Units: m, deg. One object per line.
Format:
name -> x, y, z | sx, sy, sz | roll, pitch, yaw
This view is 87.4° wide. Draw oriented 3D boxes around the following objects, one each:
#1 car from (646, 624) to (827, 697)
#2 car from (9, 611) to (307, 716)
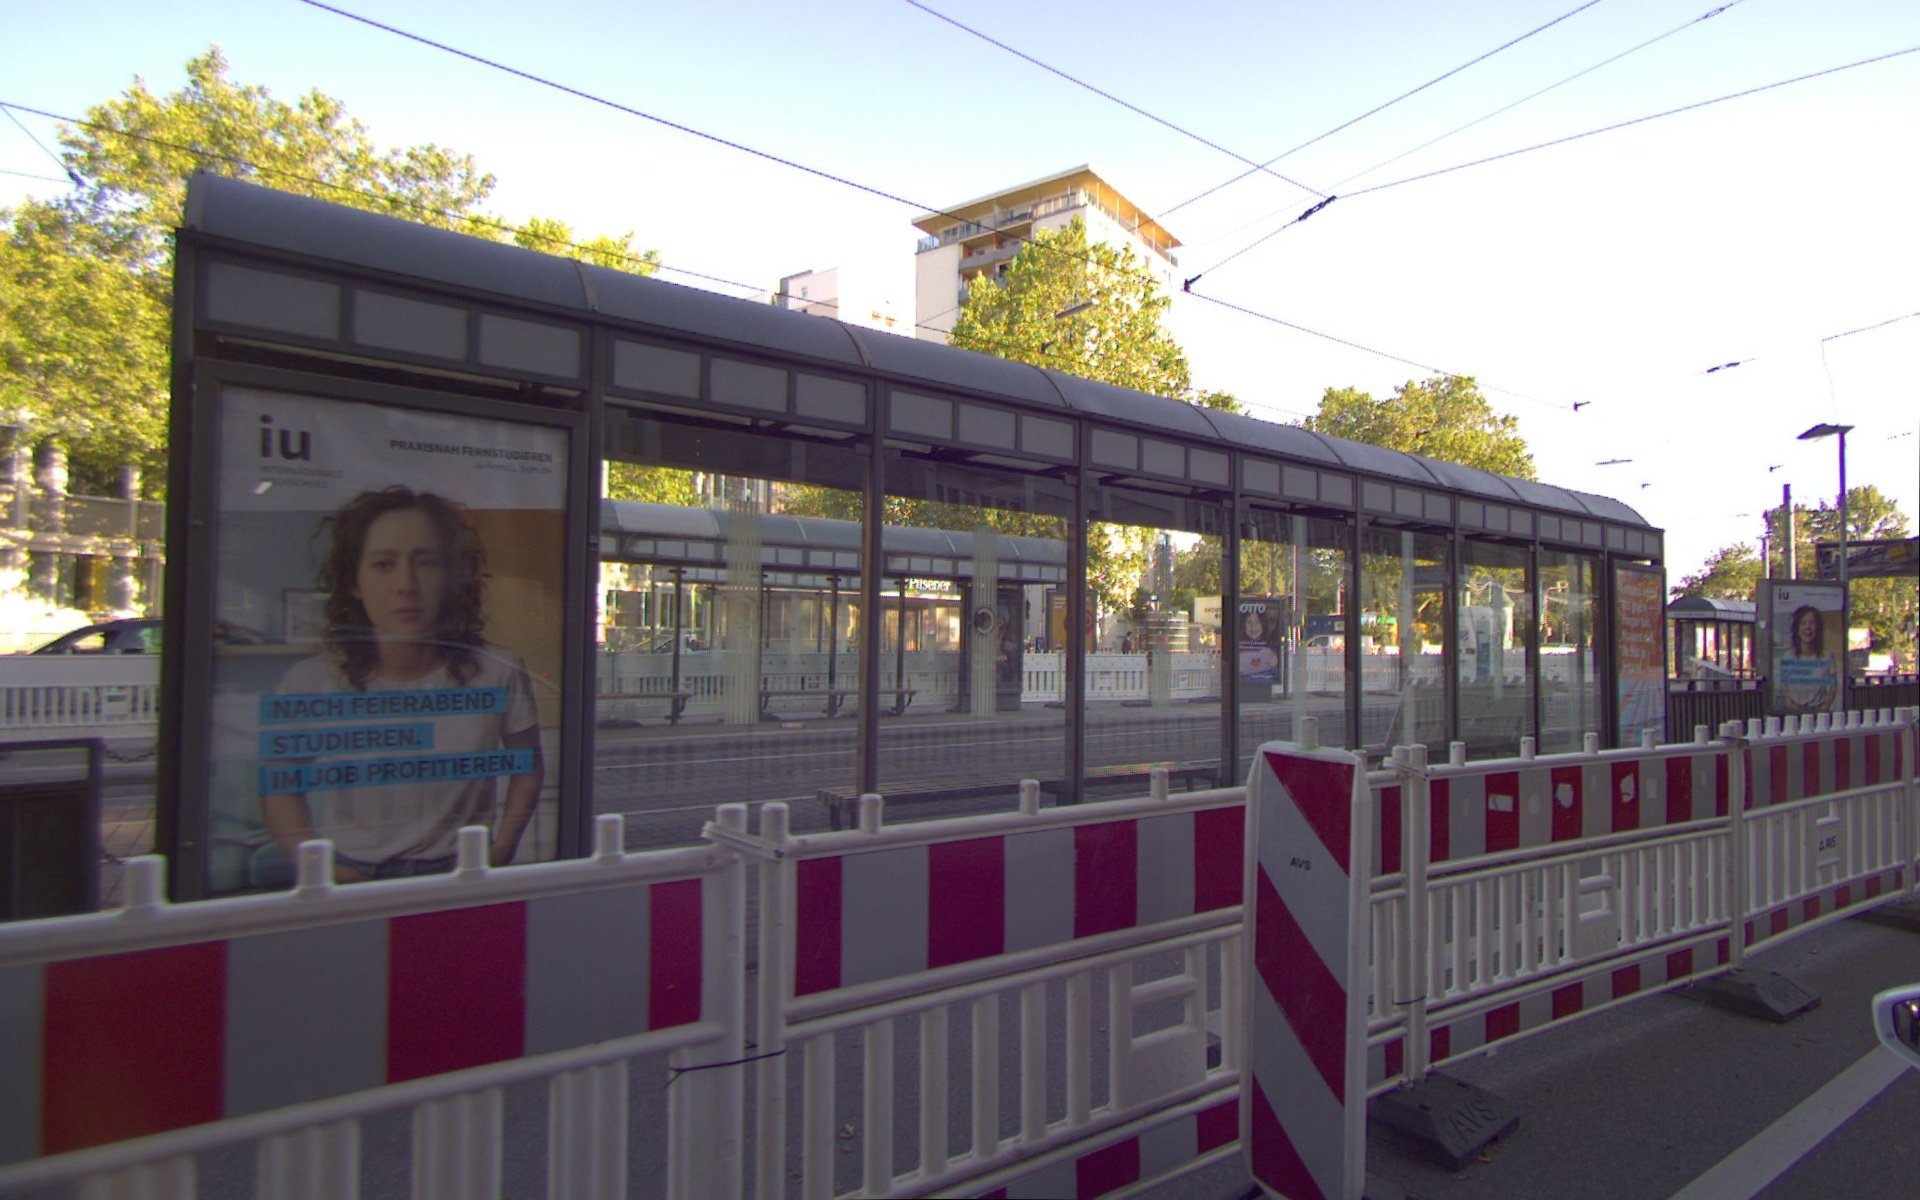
car -> -5.527, 1.480, 24.990 | 3.960, 1.683, 1.901 | 2, -3, -35
car -> -14.159, 1.114, 18.083 | 3.958, 1.683, 1.902 | 2, -3, -34
